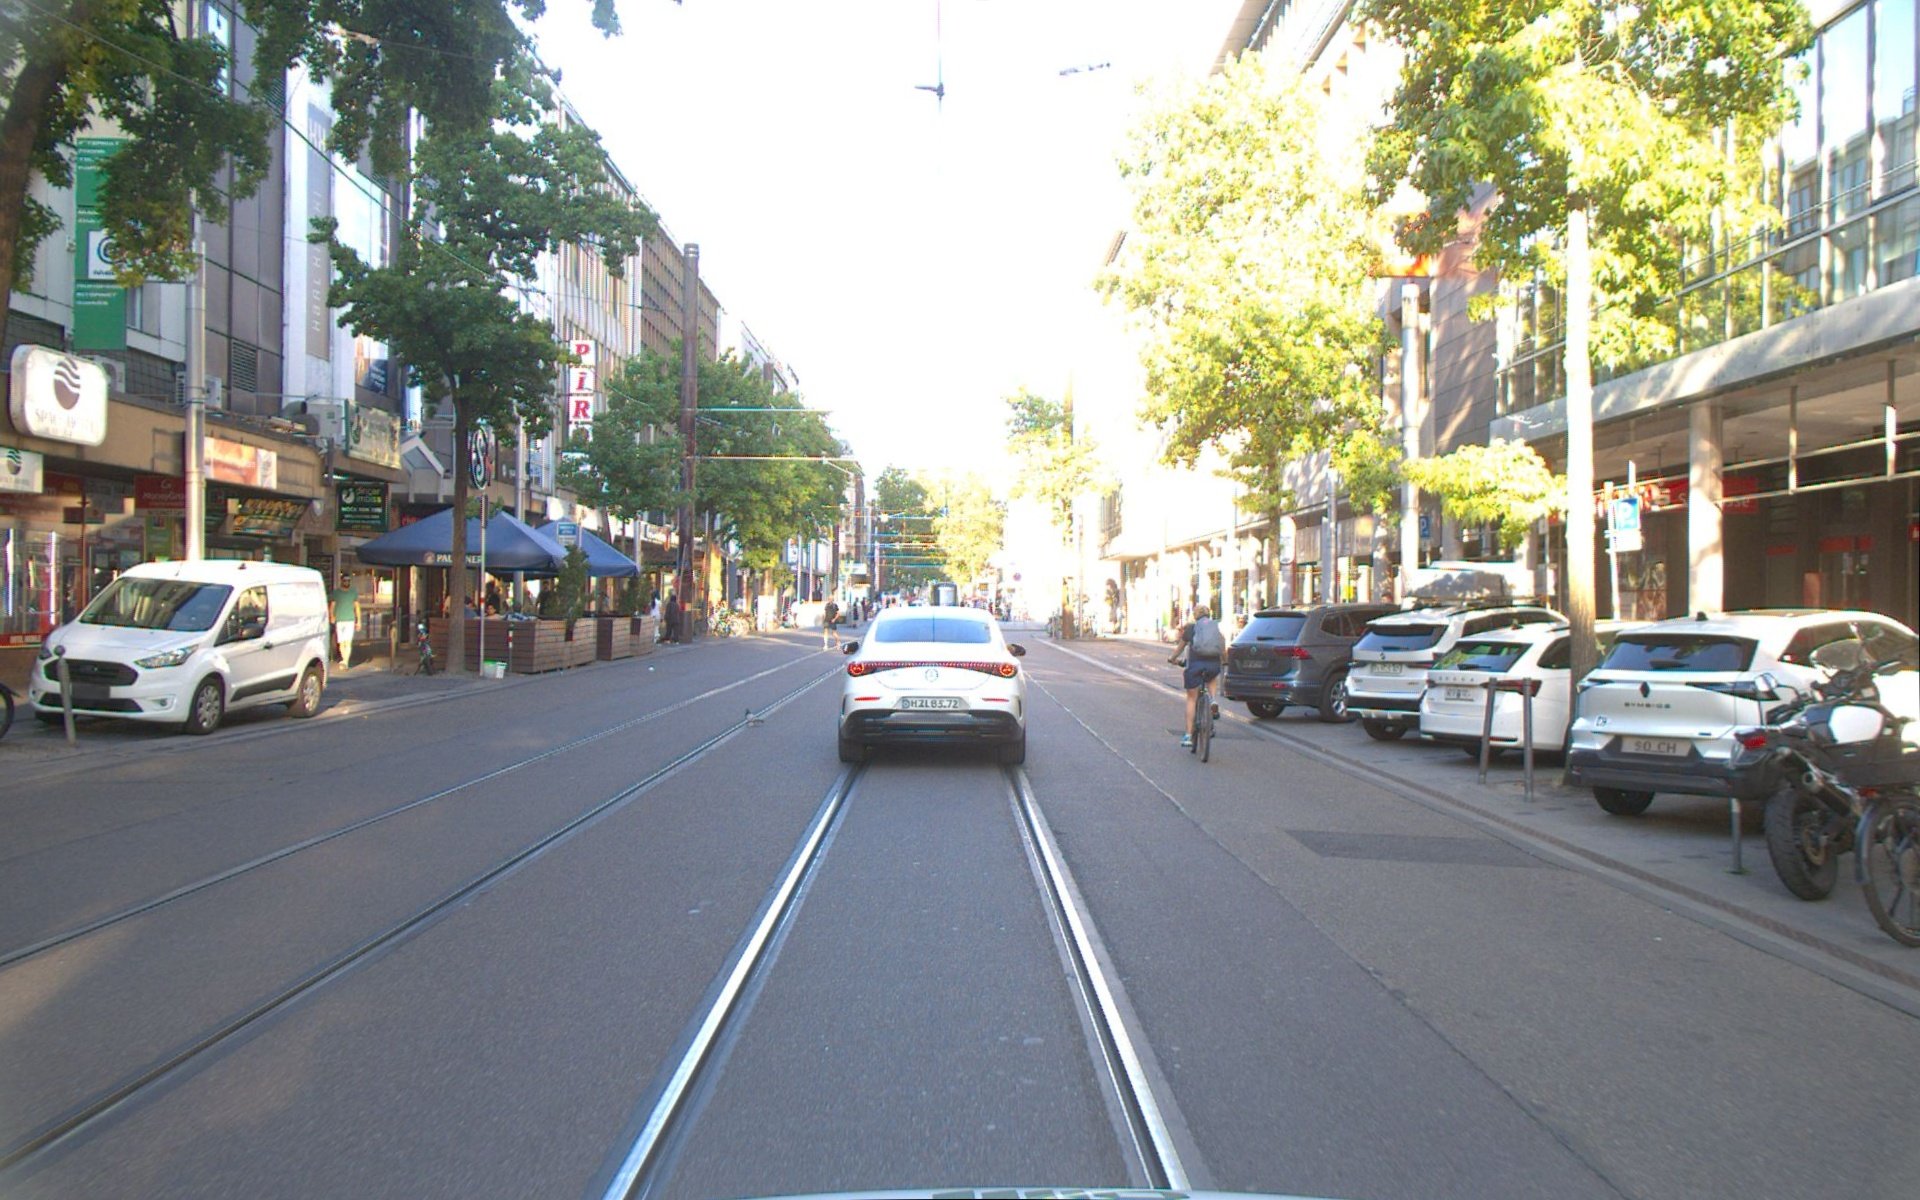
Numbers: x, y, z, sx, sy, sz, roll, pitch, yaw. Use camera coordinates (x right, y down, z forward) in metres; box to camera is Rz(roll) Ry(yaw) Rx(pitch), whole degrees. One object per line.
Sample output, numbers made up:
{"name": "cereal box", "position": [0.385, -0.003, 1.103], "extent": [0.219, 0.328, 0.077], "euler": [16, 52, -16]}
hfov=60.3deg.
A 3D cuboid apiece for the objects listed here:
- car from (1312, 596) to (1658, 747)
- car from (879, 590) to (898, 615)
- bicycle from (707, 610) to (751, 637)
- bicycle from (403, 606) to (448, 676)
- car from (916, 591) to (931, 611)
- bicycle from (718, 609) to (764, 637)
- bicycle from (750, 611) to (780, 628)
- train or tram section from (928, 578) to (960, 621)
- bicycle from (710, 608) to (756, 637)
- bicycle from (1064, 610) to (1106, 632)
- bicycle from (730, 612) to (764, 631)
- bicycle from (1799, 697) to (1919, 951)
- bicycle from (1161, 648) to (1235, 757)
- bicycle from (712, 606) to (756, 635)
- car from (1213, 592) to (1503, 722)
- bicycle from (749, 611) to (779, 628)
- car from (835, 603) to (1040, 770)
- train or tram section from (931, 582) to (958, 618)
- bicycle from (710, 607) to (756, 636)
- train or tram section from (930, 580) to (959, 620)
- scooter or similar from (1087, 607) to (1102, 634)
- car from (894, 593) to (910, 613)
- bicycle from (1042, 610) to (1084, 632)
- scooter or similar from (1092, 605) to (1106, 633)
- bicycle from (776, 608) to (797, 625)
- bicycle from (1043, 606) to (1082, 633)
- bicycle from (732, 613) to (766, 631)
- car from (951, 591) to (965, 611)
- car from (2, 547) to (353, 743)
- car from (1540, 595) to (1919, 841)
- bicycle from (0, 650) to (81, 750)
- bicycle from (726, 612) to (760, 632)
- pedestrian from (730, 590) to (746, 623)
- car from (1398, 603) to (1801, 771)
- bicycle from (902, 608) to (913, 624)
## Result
{"name": "car", "position": [6.626, 0.829, 20.773], "extent": [4.194, 1.615, 1.864], "euler": [-2, 0, -32]}
{"name": "car", "position": [-8.402, 0.277, 194.538], "extent": [1.953, 2.948, 5.274], "euler": [0, 0, 0]}
{"name": "bicycle", "position": [-8.796, 0.890, 62.991], "extent": [1.562, 0.947, 0.377], "euler": [2, 0, 6]}
{"name": "bicycle", "position": [-9.747, 0.727, 30.196], "extent": [0.687, 1.140, 2.076], "euler": [3, 0, -18]}
{"name": "car", "position": [-5.370, 0.094, 245.404], "extent": [2.056, 2.948, 5.274], "euler": [0, 0, 0]}
{"name": "bicycle", "position": [-8.920, 0.930, 67.526], "extent": [1.810, 1.096, 0.377], "euler": [2, 0, -5]}
{"name": "bicycle", "position": [-9.860, 0.996, 83.792], "extent": [1.462, 0.797, 0.344], "euler": [2, 0, 1]}
{"name": "train or tram section", "position": [-1.409, -0.008, 144.161], "extent": [2.639, 3.578, 12.543], "euler": [0, 0, 0]}
{"name": "bicycle", "position": [-9.093, 0.887, 66.272], "extent": [1.754, 1.096, 0.377], "euler": [2, 0, -5]}
{"name": "bicycle", "position": [6.490, 1.102, 86.012], "extent": [2.077, 1.115, 0.608], "euler": [0, -1, -14]}
{"name": "bicycle", "position": [-9.614, 0.987, 74.551], "extent": [1.462, 0.797, 0.344], "euler": [2, 0, 1]}
{"name": "bicycle", "position": [5.260, 1.091, 8.597], "extent": [1.870, 1.139, 0.661], "euler": [-2, -1, -30]}
{"name": "bicycle", "position": [2.560, 1.065, 17.757], "extent": [0.703, 1.012, 2.060], "euler": [2, 0, 8]}
{"name": "bicycle", "position": [-9.562, 0.875, 70.004], "extent": [1.808, 1.161, 0.377], "euler": [2, 0, 1]}
{"name": "car", "position": [5.980, 0.793, 24.691], "extent": [4.300, 1.681, 1.676], "euler": [-2, 0, -32]}
{"name": "bicycle", "position": [-9.890, 1.001, 83.422], "extent": [1.462, 0.797, 0.344], "euler": [2, 0, 1]}
{"name": "car", "position": [-0.220, 0.772, 16.794], "extent": [1.819, 1.481, 4.174], "euler": [0, 0, -1]}
{"name": "train or tram section", "position": [-1.577, 0.033, 168.552], "extent": [2.639, 3.578, 11.141], "euler": [0, 0, 0]}
{"name": "bicycle", "position": [-9.048, 0.869, 65.835], "extent": [1.754, 1.096, 0.377], "euler": [2, 0, -5]}
{"name": "train or tram section", "position": [-1.492, 0.011, 156.713], "extent": [2.639, 3.578, 12.543], "euler": [0, 0, 0]}
{"name": "scooter or similar", "position": [6.406, 0.977, 78.861], "extent": [0.518, 1.299, 0.658], "euler": [-1, 0, -12]}
{"name": "car", "position": [-7.494, 0.417, 213.333], "extent": [1.871, 2.504, 5.274], "euler": [0, 0, 0]}
{"name": "bicycle", "position": [5.394, 1.123, 86.667], "extent": [2.076, 1.115, 0.608], "euler": [1, -1, -12]}
{"name": "scooter or similar", "position": [6.575, 0.886, 78.234], "extent": [0.482, 1.299, 0.658], "euler": [-1, 0, -12]}
{"name": "bicycle", "position": [-11.135, 1.065, 106.369], "extent": [0.703, 1.027, 2.041], "euler": [0, 0, 13]}
{"name": "bicycle", "position": [5.182, 1.000, 83.681], "extent": [1.874, 1.304, 0.608], "euler": [-1, 0, -12]}
{"name": "bicycle", "position": [-9.569, 0.993, 75.156], "extent": [1.462, 0.797, 0.344], "euler": [2, 0, 1]}
{"name": "car", "position": [-0.280, 0.174, 245.780], "extent": [2.056, 2.948, 5.284], "euler": [0, 0, 0]}
{"name": "car", "position": [-8.800, 0.457, 19.109], "extent": [1.759, 1.897, 4.553], "euler": [3, 0, 0]}
{"name": "car", "position": [6.757, 0.812, 13.324], "extent": [4.110, 1.599, 1.832], "euler": [-2, 0, -34]}
{"name": "bicycle", "position": [-9.321, 0.925, 15.351], "extent": [0.821, 0.880, 1.852], "euler": [3, 0, 38]}
{"name": "bicycle", "position": [-9.653, 0.979, 73.616], "extent": [1.462, 0.856, 0.344], "euler": [2, 0, 1]}
{"name": "pedestrian", "position": [-12.138, 0.372, 90.445], "extent": [0.776, 1.797, 0.533], "euler": [0, 0, -25]}
{"name": "car", "position": [6.926, 0.865, 17.874], "extent": [4.093, 1.525, 1.676], "euler": [-2, 0, -25]}
{"name": "bicycle", "position": [-3.994, 1.197, 126.394], "extent": [0.784, 1.162, 2.256], "euler": [2, 0, -2]}
